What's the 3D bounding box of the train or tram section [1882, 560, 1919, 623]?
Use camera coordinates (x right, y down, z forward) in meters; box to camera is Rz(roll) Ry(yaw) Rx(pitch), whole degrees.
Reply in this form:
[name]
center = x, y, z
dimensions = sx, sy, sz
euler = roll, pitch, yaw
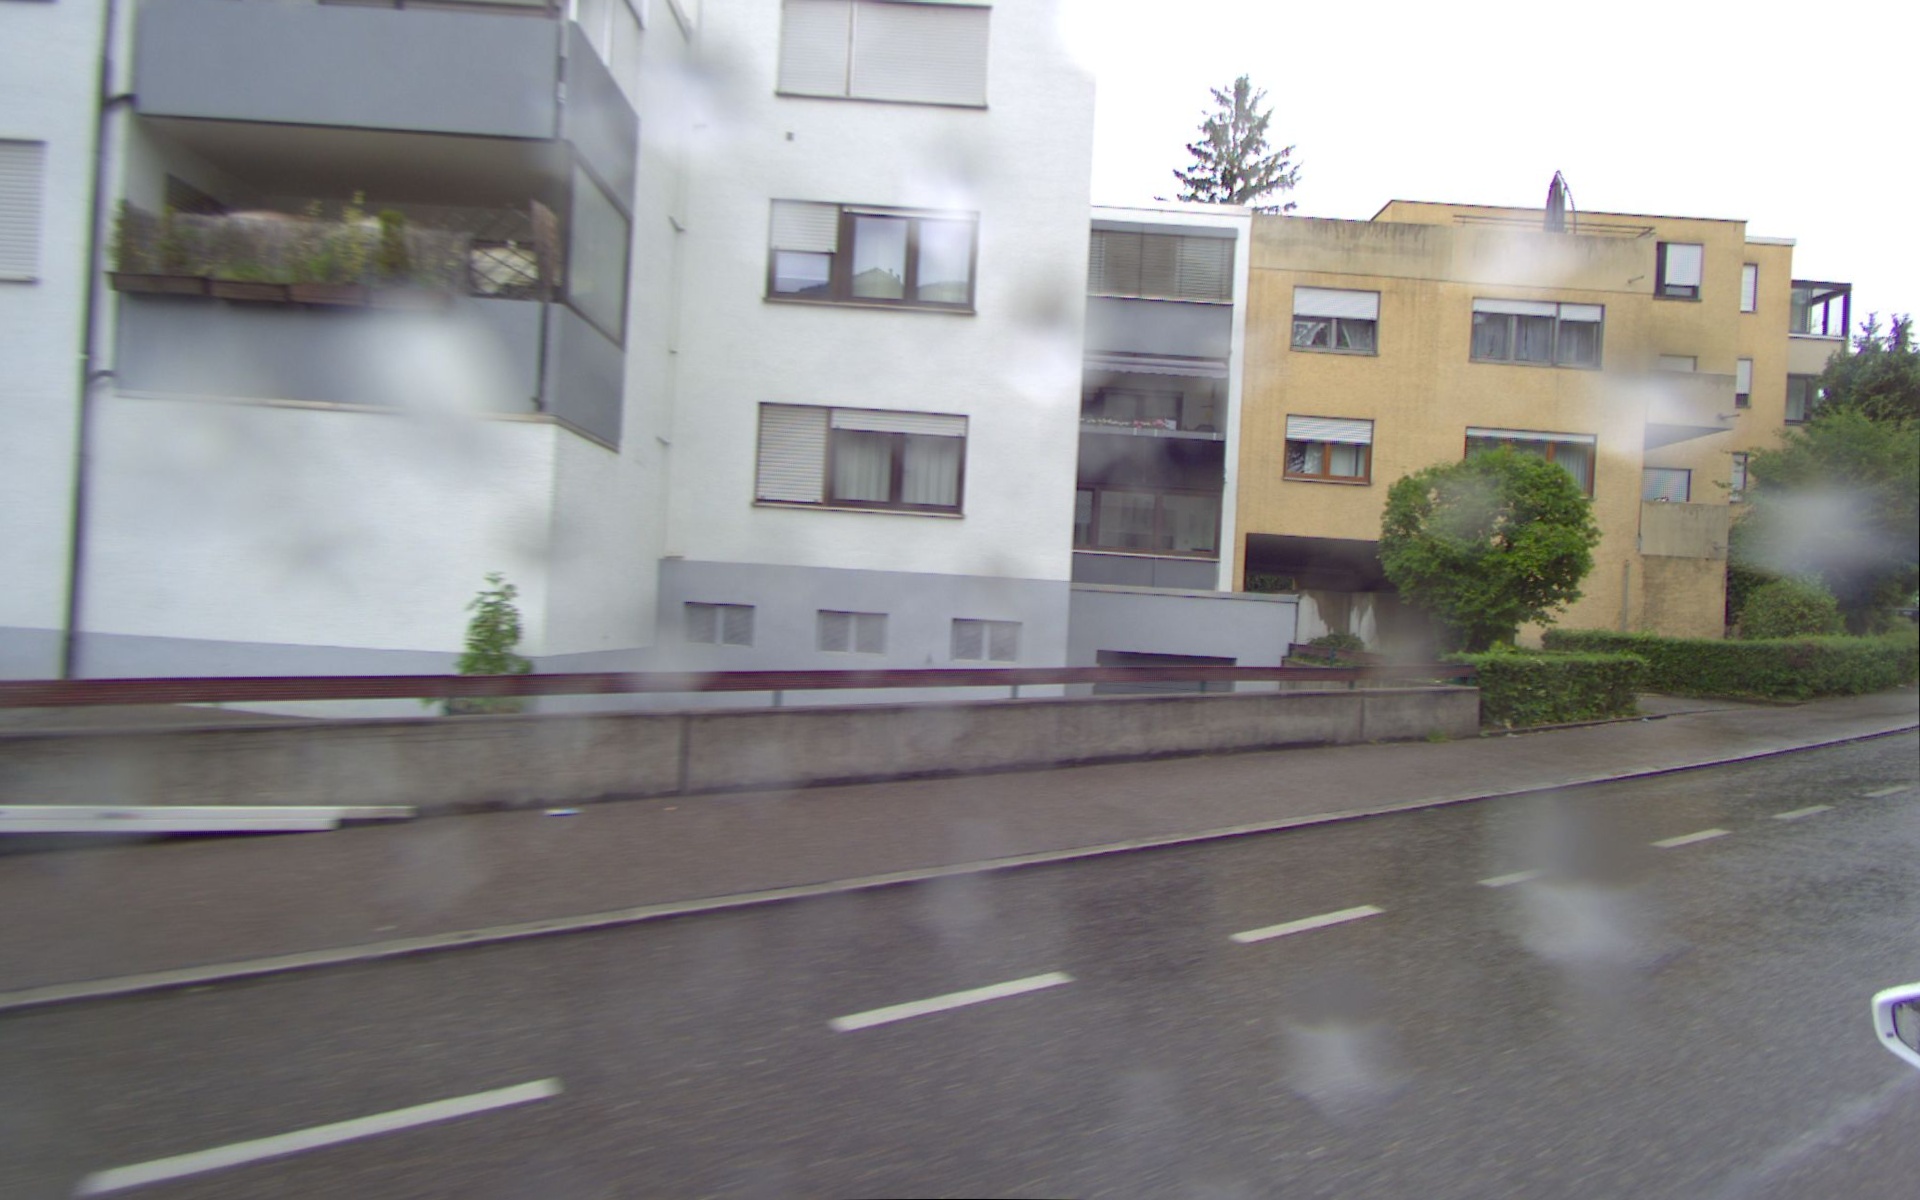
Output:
[train or tram section]
center = 53.213, -0.418, 53.047
dimensions = 6.733, 3.246, 2.366
euler = 0, 0, 2
